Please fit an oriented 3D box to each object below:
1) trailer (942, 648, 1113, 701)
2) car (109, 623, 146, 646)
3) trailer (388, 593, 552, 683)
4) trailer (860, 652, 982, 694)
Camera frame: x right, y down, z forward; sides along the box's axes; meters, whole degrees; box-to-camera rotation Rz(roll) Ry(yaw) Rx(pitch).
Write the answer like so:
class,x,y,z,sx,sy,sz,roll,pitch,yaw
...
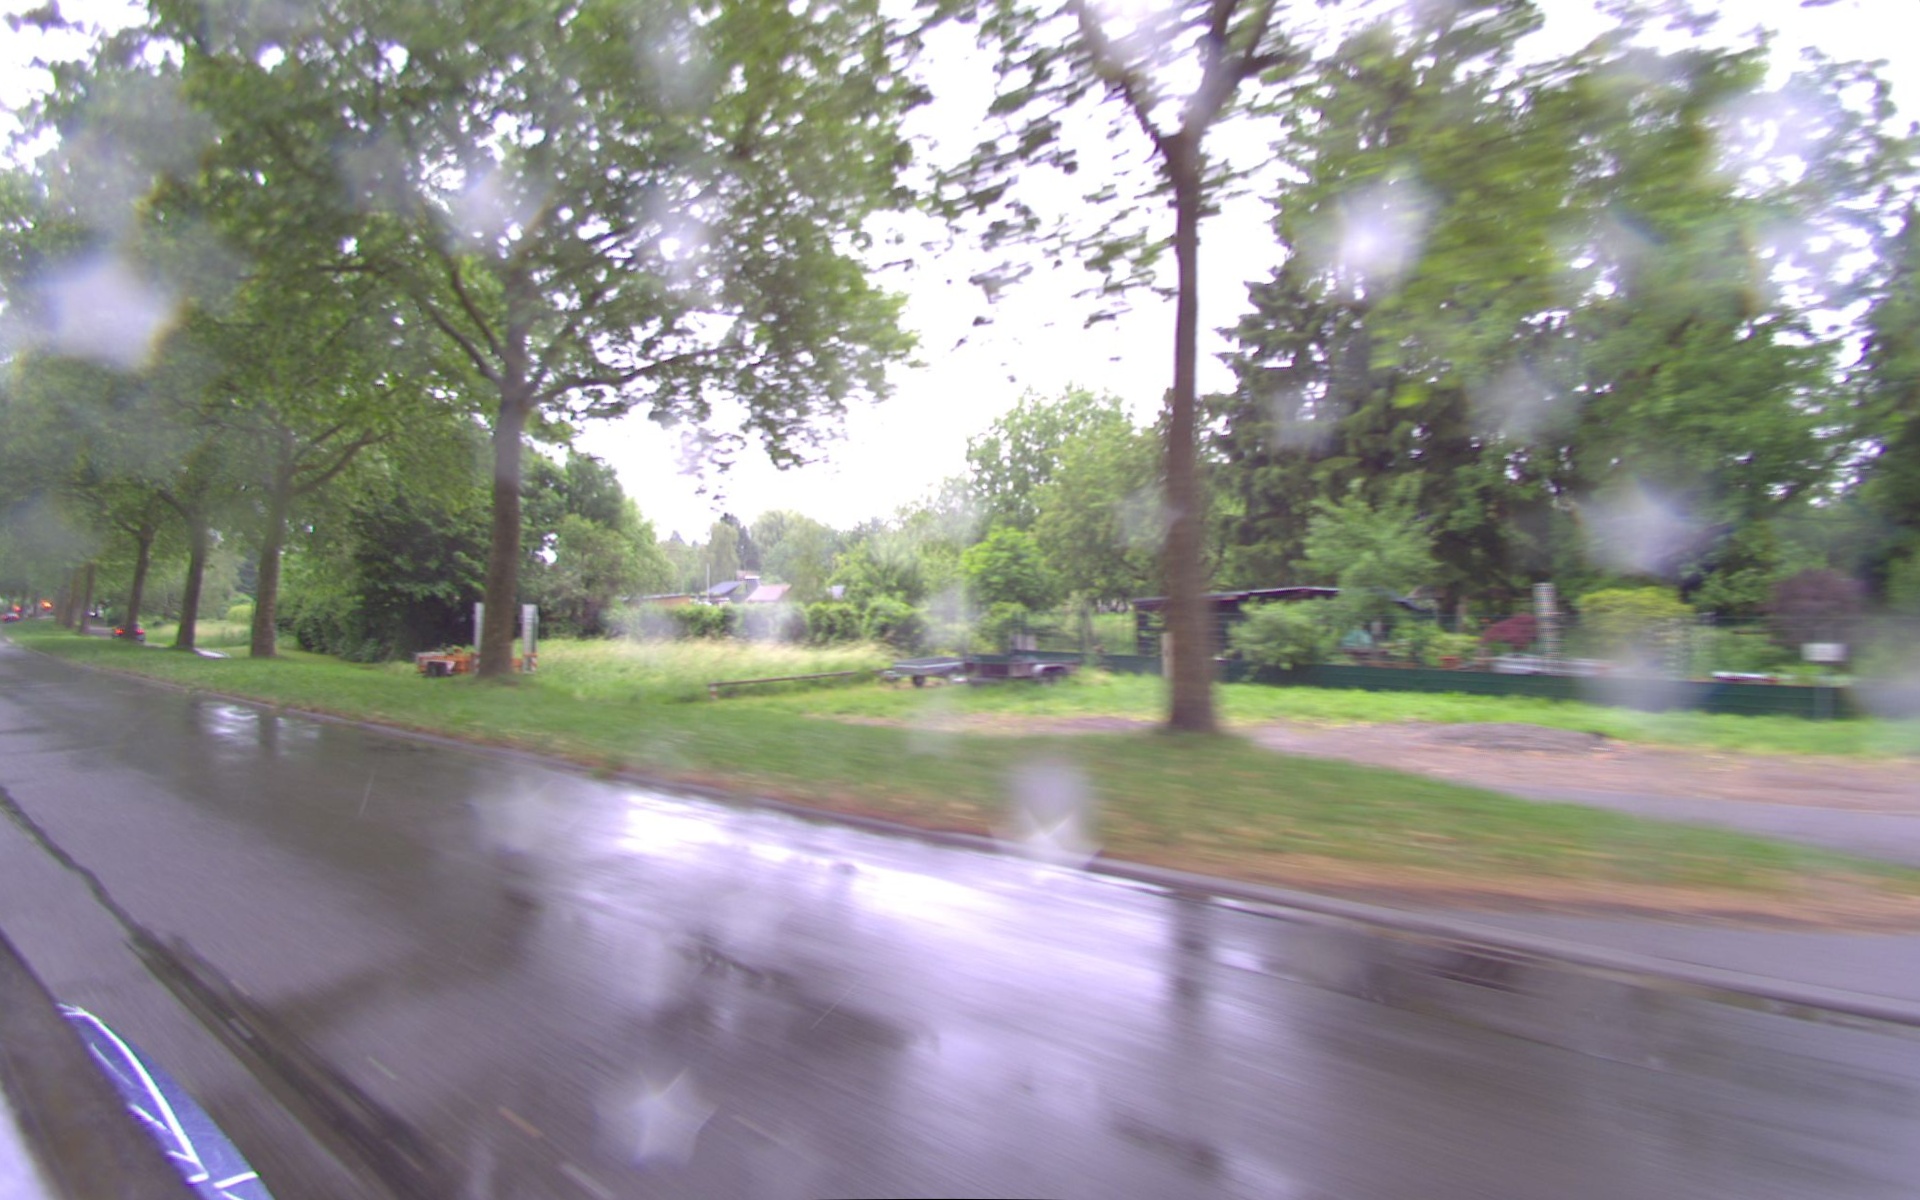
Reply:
class,x,y,z,sx,sy,sz,roll,pitch,yaw
trailer,1.832,1.875,26.436,2.381,1.040,4.272,-1,0,40
car,-66.425,2.716,80.775,1.868,1.695,4.011,0,-1,-34
trailer,-16.370,1.172,33.617,6.653,2.684,2.767,-1,-1,44
trailer,-1.047,1.992,28.109,1.768,0.952,3.042,-1,-1,42
